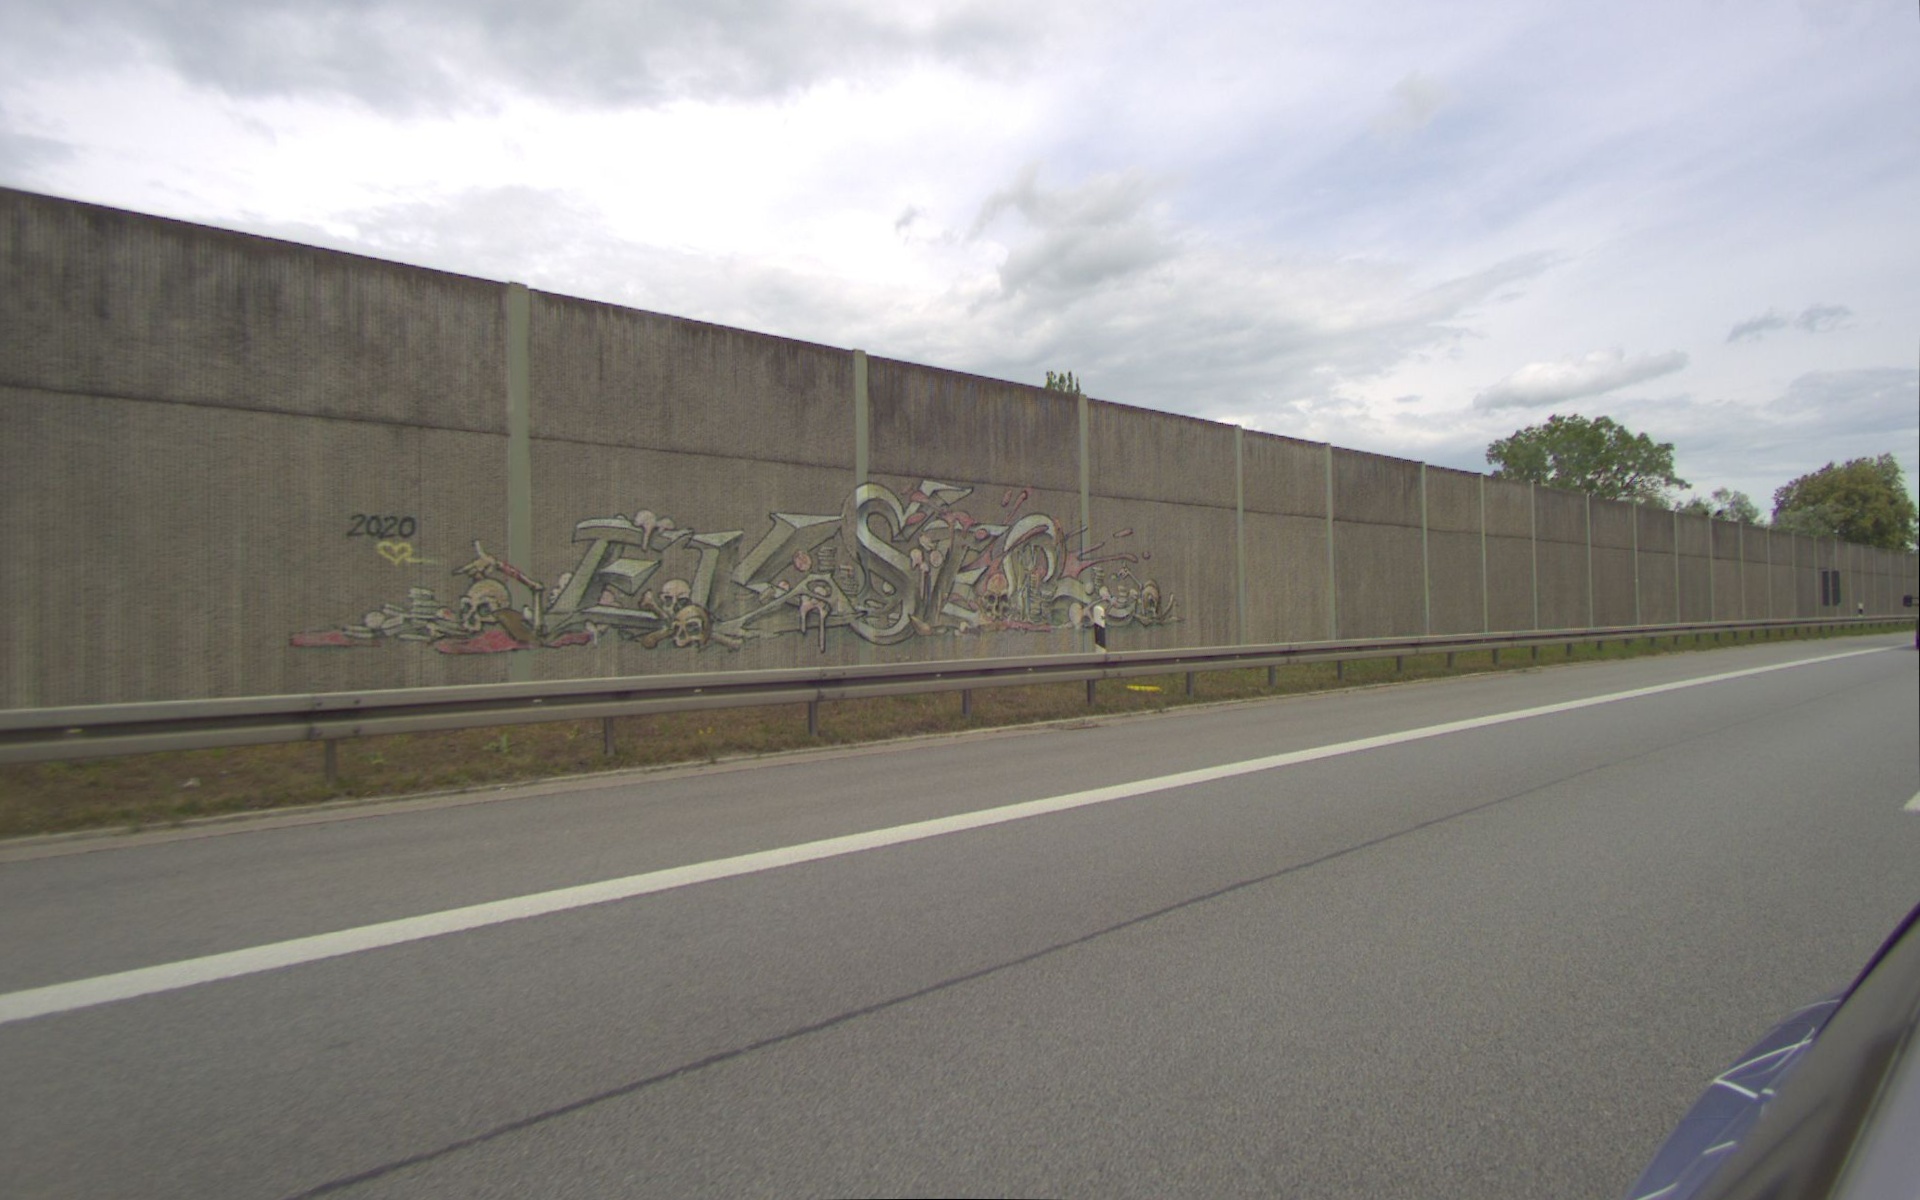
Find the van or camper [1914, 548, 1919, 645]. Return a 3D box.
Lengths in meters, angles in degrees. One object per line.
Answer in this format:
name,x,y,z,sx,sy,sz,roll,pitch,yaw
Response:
van or camper,30.563,-0.085,29.868,7.092,2.731,2.435,0,0,-38
